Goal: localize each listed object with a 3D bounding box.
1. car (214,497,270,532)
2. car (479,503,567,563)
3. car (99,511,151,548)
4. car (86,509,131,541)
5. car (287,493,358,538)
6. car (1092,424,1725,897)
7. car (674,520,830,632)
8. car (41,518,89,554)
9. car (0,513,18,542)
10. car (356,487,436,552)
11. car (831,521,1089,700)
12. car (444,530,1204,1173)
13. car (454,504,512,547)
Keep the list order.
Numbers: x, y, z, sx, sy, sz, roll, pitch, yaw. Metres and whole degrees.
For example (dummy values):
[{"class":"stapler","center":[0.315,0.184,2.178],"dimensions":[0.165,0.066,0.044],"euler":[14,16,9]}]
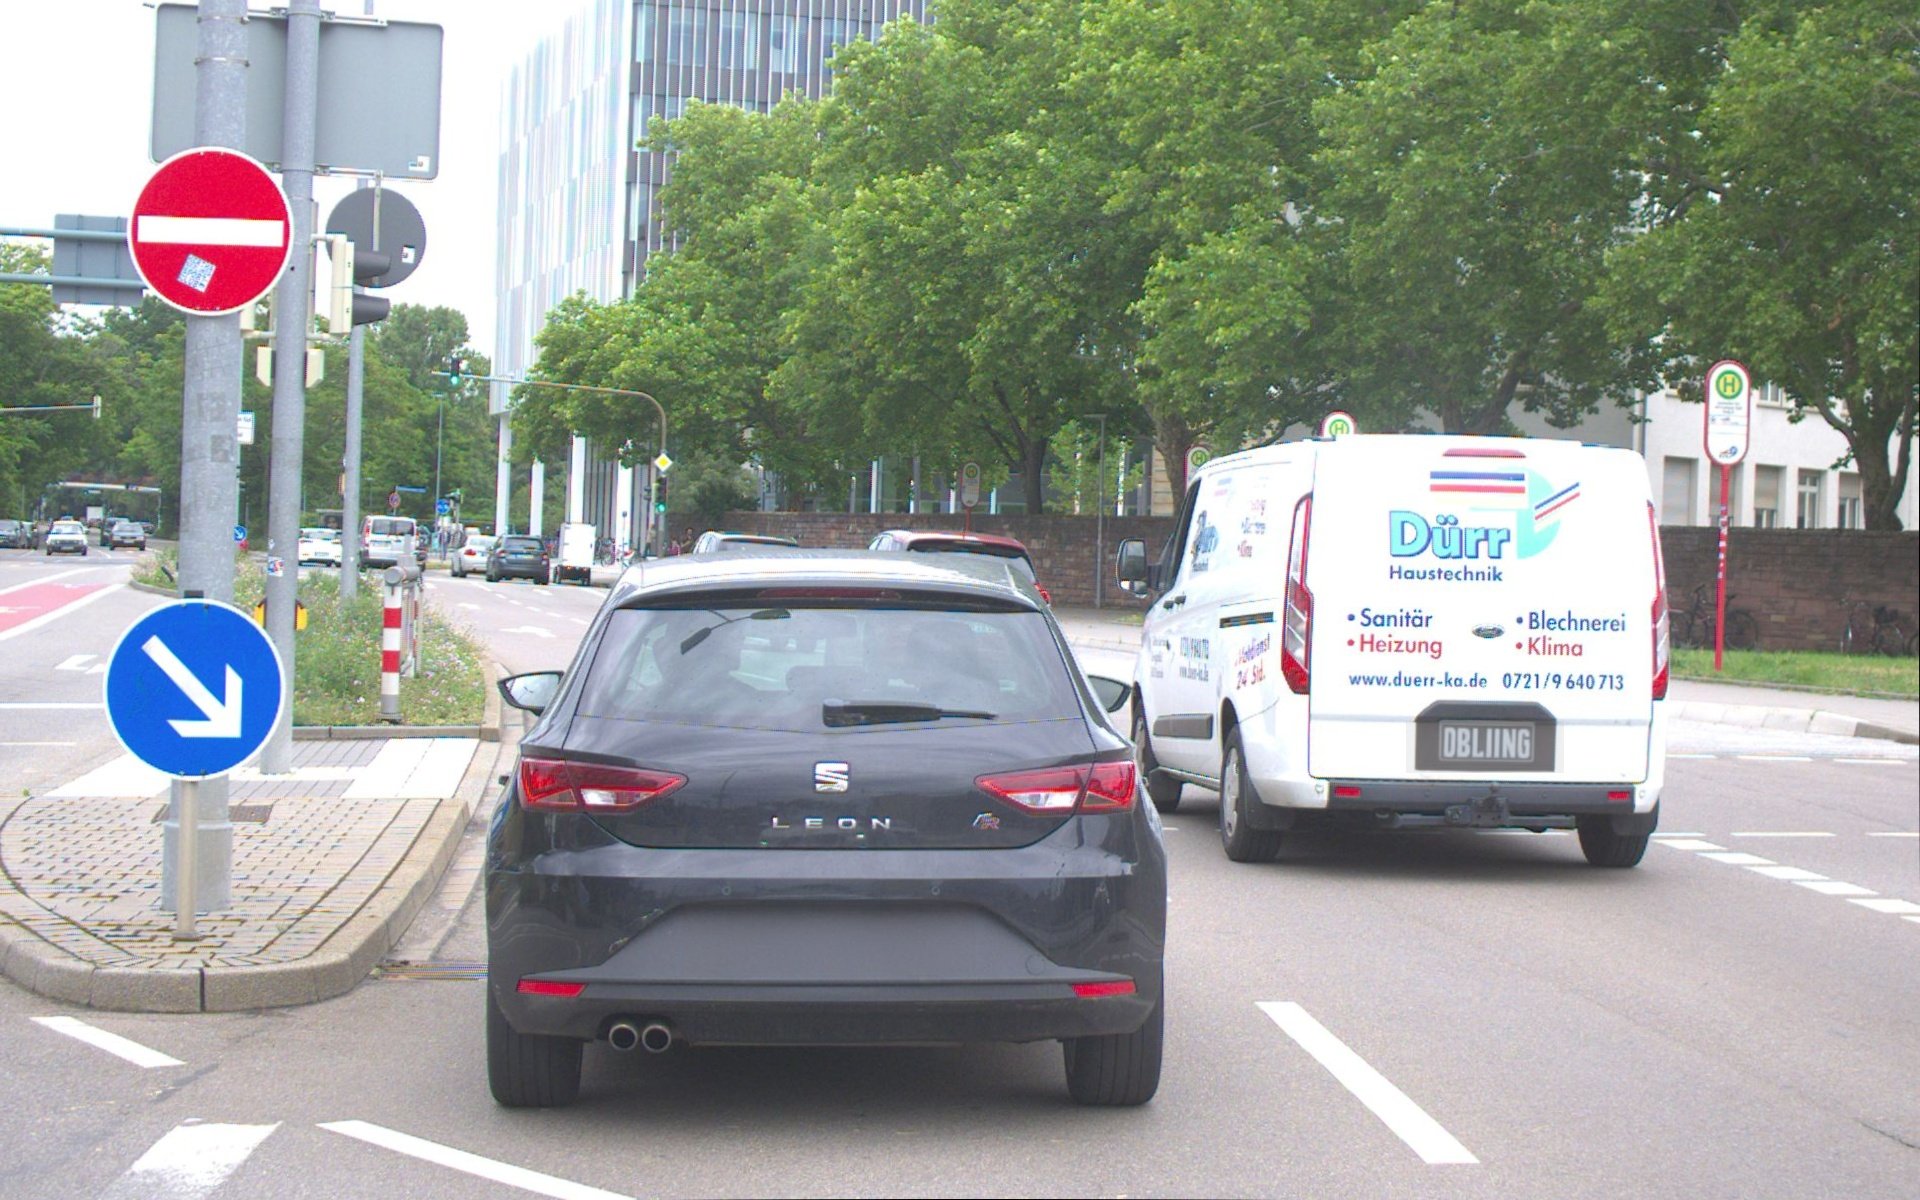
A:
[{"class":"car","center":[-27.526,-3.286,131.746],"dimensions":[1.711,1.261,3.341],"euler":[1,2,-18]},{"class":"car","center":[-13.136,-2.022,103.129],"dimensions":[1.917,1.678,4.002],"euler":[1,2,-17]},{"class":"car","center":[-42.098,-3.570,173.336],"dimensions":[1.993,1.774,4.001],"euler":[1,1,-21]},{"class":"car","center":[-49.418,-4.362,199.462],"dimensions":[1.993,1.774,4.001],"euler":[1,1,-21]},{"class":"car","center":[-24.485,-3.260,131.970],"dimensions":[1.993,1.634,4.001],"euler":[1,2,-20]},{"class":"car","center":[2.063,0.204,17.527],"dimensions":[1.993,2.012,5.033],"euler":[2,1,-6]},{"class":"car","center":[-3.224,-0.405,52.564],"dimensions":[1.993,1.560,4.206],"euler":[2,1,-8]},{"class":"car","center":[-37.094,-2.665,142.426],"dimensions":[1.686,1.411,3.645],"euler":[1,1,-18]},{"class":"car","center":[-48.423,-3.651,172.131],"dimensions":[1.878,1.411,3.857],"euler":[1,1,-24]},{"class":"car","center":[-18.520,-2.659,112.774],"dimensions":[1.993,2.007,4.002],"euler":[1,1,-17]},{"class":"car","center":[-0.074,0.056,34.200],"dimensions":[1.857,1.594,4.206],"euler":[2,1,-9]},{"class":"car","center":[-0.446,0.602,10.012],"dimensions":[1.745,1.459,4.000],"euler":[-1,-1,-4]},{"class":"car","center":[-15.905,-2.486,114.577],"dimensions":[1.525,1.360,2.970],"euler":[2,1,-15]}]
